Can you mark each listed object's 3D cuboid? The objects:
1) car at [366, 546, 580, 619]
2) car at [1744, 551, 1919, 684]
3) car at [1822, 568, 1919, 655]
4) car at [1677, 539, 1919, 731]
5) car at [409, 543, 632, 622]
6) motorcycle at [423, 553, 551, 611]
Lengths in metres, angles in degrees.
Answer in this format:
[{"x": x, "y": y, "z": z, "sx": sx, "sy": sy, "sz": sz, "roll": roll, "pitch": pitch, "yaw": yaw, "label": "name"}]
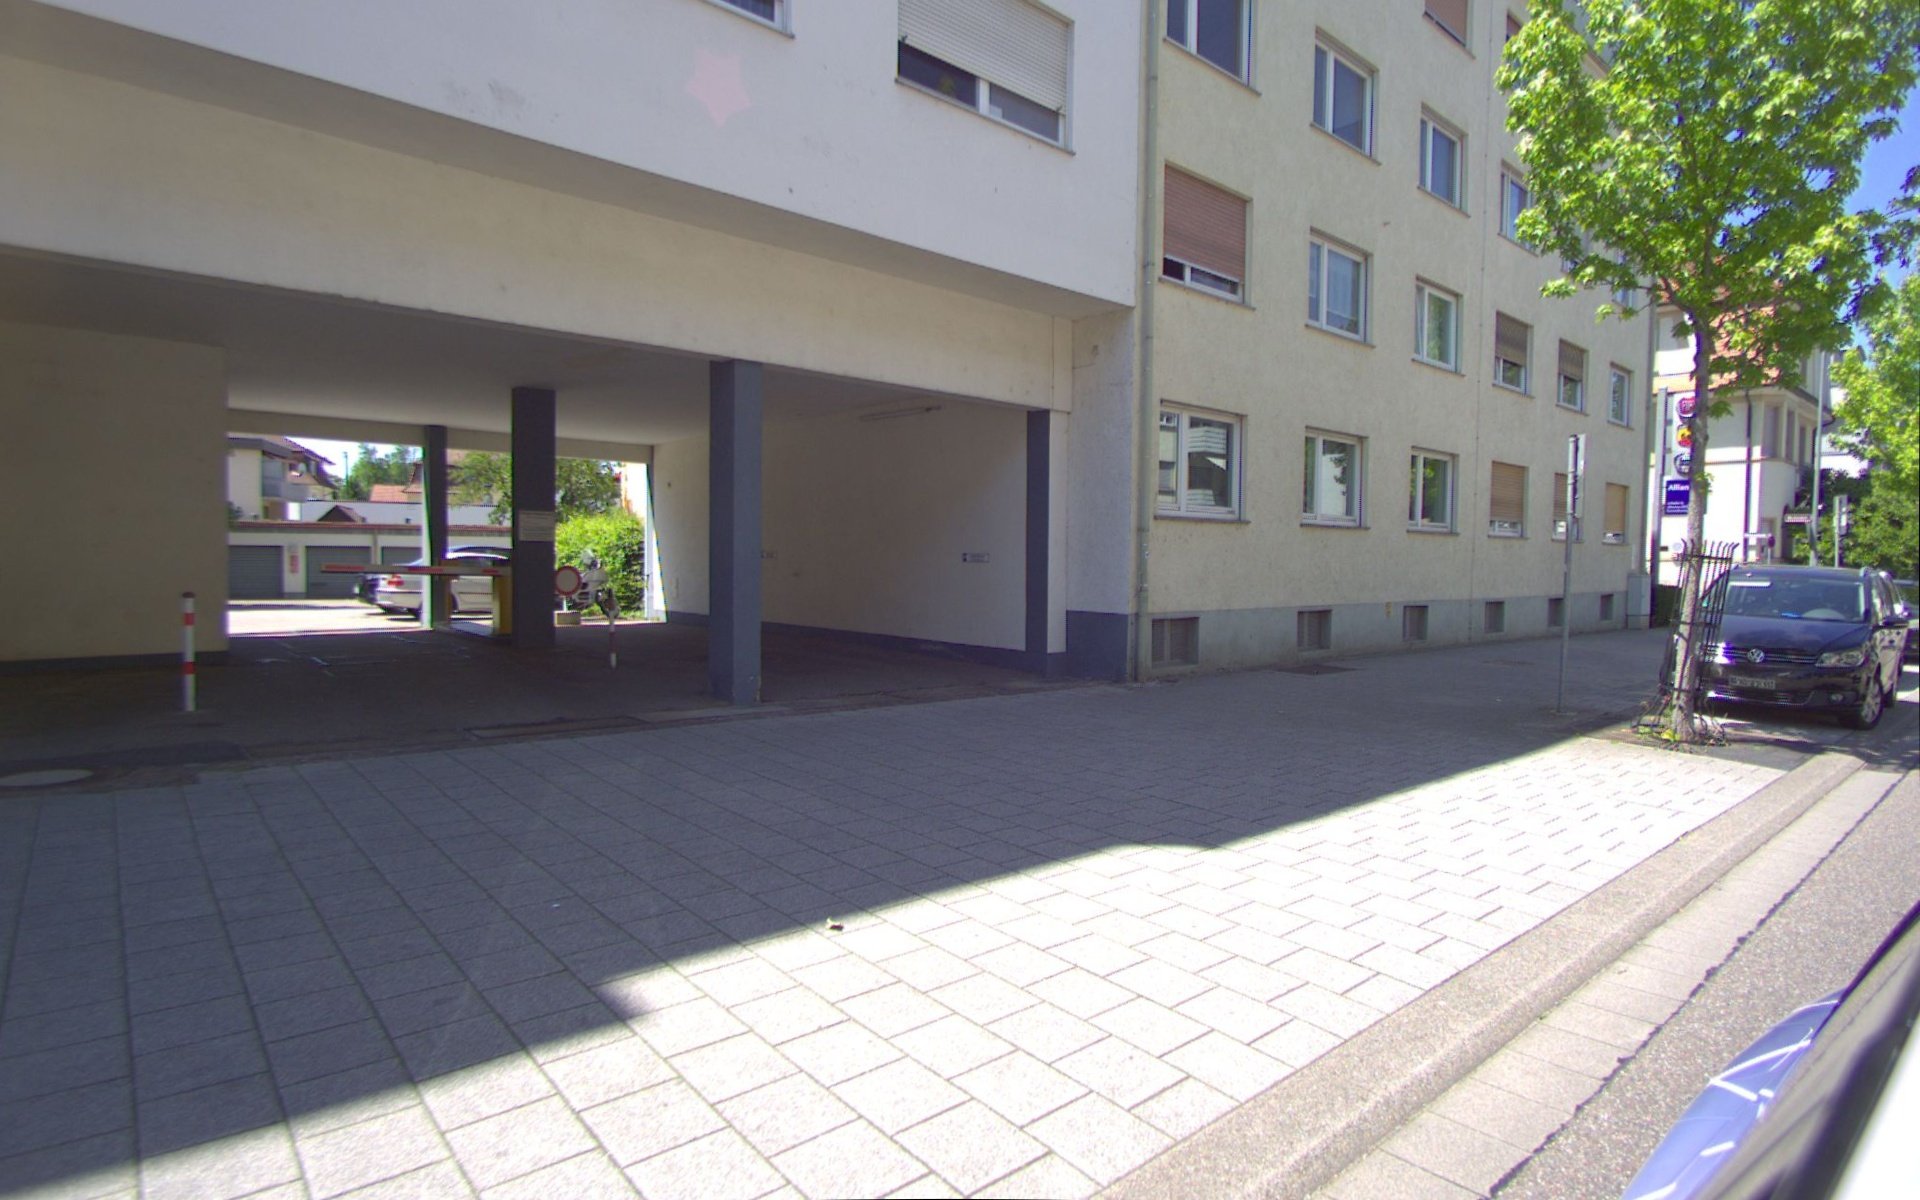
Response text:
[{"x": -10.633, "y": -0.411, "z": 22.230, "sx": 3.931, "sy": 1.471, "sz": 1.732, "roll": -1, "pitch": 3, "yaw": -41, "label": "car"}, {"x": 13.373, "y": 0.174, "z": 15.379, "sx": 4.065, "sy": 1.743, "sz": 1.690, "roll": -1, "pitch": 3, "yaw": -44, "label": "car"}, {"x": 18.077, "y": 0.168, "z": 19.440, "sx": 4.062, "sy": 1.506, "sz": 1.692, "roll": -1, "pitch": 3, "yaw": -41, "label": "car"}, {"x": 9.648, "y": 0.271, "z": 11.482, "sx": 3.935, "sy": 1.742, "sz": 1.691, "roll": -1, "pitch": 5, "yaw": -44, "label": "car"}, {"x": -9.073, "y": -0.390, "z": 21.037, "sx": 3.931, "sy": 1.471, "sz": 1.732, "roll": -1, "pitch": 3, "yaw": -41, "label": "car"}, {"x": -11.411, "y": -0.443, "z": 24.458, "sx": 2.558, "sy": 1.308, "sz": 1.308, "roll": -1, "pitch": 3, "yaw": -41, "label": "motorcycle"}]
